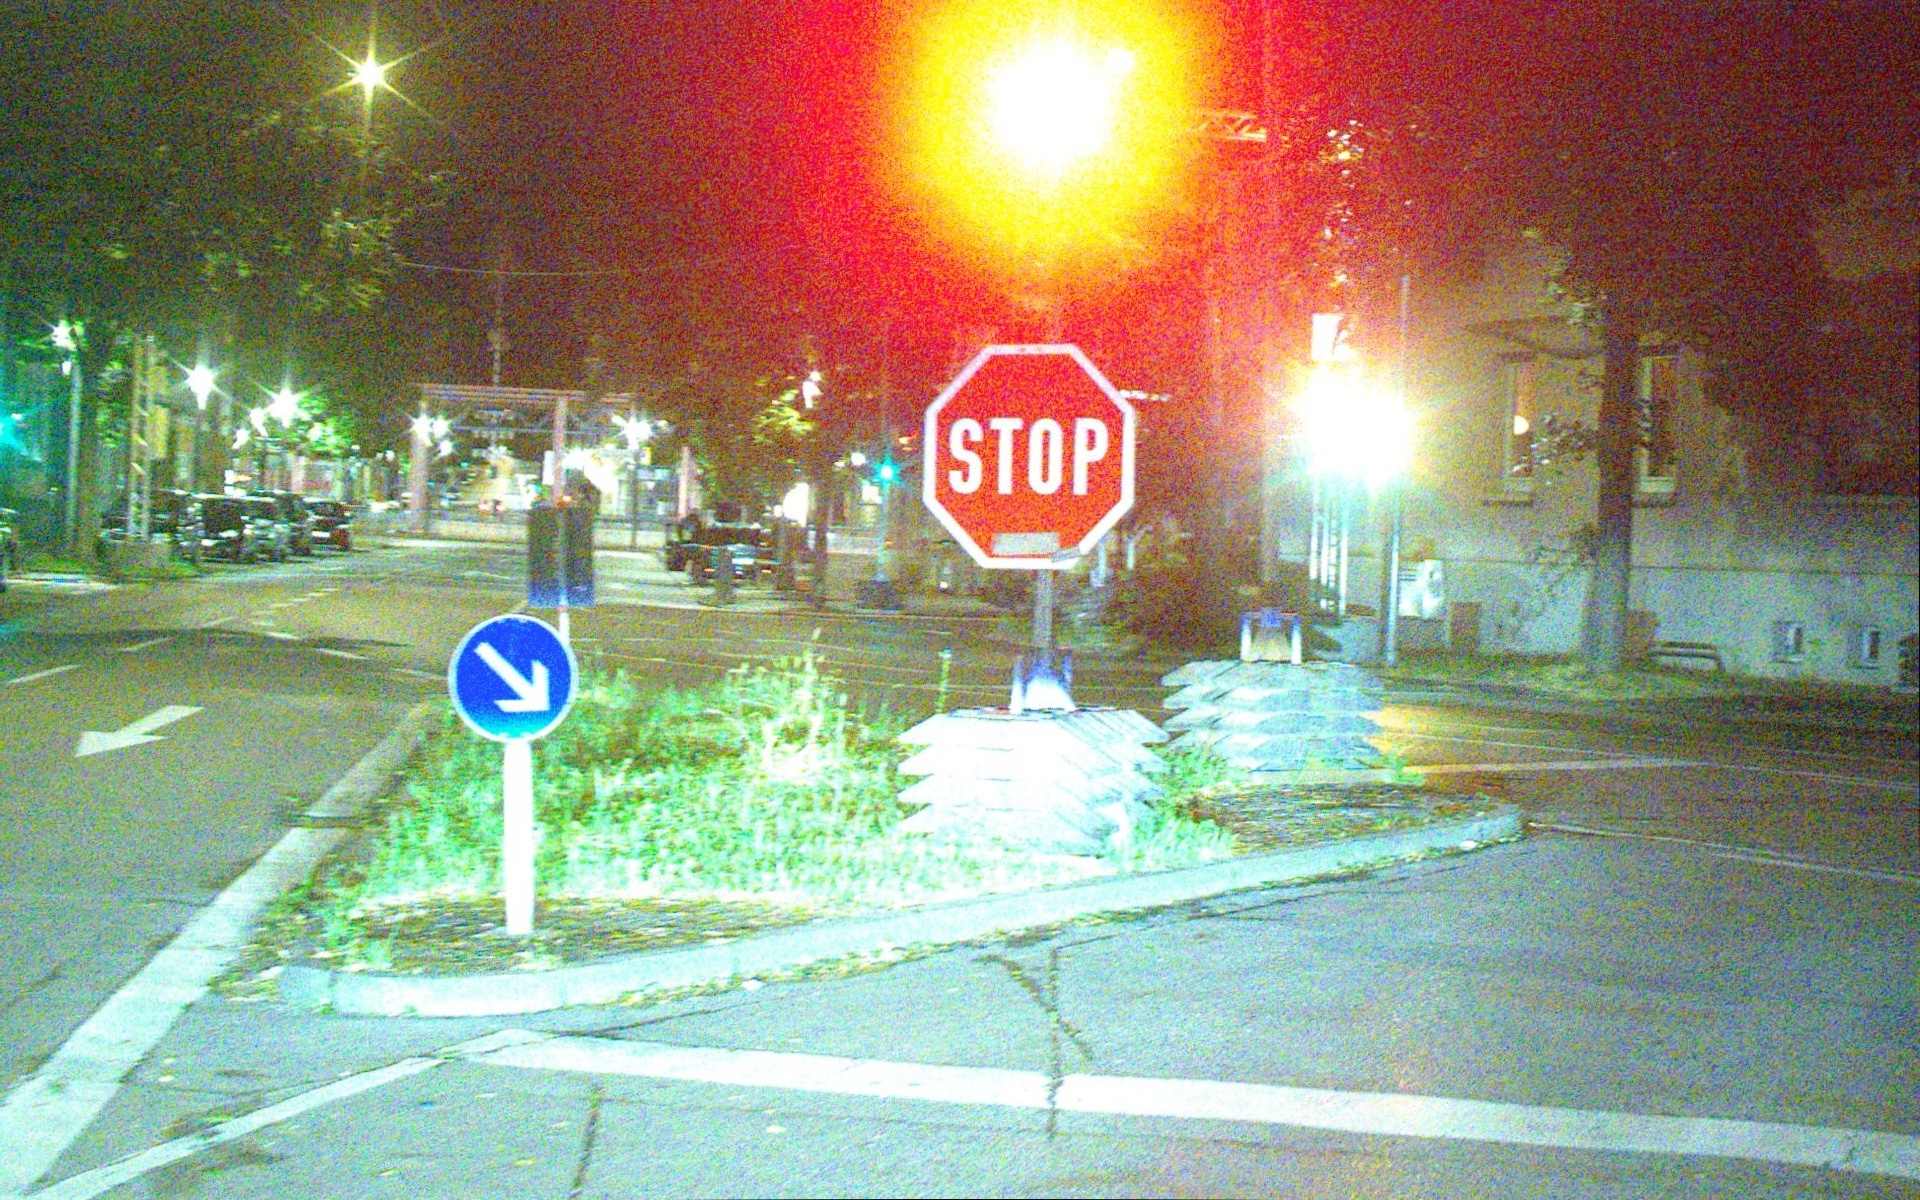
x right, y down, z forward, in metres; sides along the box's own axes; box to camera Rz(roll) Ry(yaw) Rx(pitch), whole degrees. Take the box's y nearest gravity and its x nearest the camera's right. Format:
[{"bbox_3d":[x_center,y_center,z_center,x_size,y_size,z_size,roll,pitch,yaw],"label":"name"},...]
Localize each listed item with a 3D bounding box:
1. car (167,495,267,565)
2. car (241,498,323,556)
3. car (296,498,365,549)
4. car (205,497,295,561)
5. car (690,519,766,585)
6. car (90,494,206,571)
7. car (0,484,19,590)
[{"bbox_3d":[-16.190,-1.535,75.017,1.651,1.426,4.001,1,1,-6],"label":"car"},{"bbox_3d":[-17.320,-1.872,87.945,1.651,1.426,4.001,1,1,-6],"label":"car"},{"bbox_3d":[-18.595,-2.254,101.621,1.651,1.426,4.001,1,1,-6],"label":"car"},{"bbox_3d":[-16.715,-1.683,81.086,1.651,1.426,4.001,1,1,-6],"label":"car"},{"bbox_3d":[-5.314,-1.121,78.636,1.651,1.426,4.001,1,1,-4],"label":"car"},{"bbox_3d":[-15.772,-1.321,66.929,1.651,1.426,4.001,1,1,-6],"label":"car"},{"bbox_3d":[-13.679,-0.850,45.586,1.651,1.426,4.001,1,1,-6],"label":"car"}]
